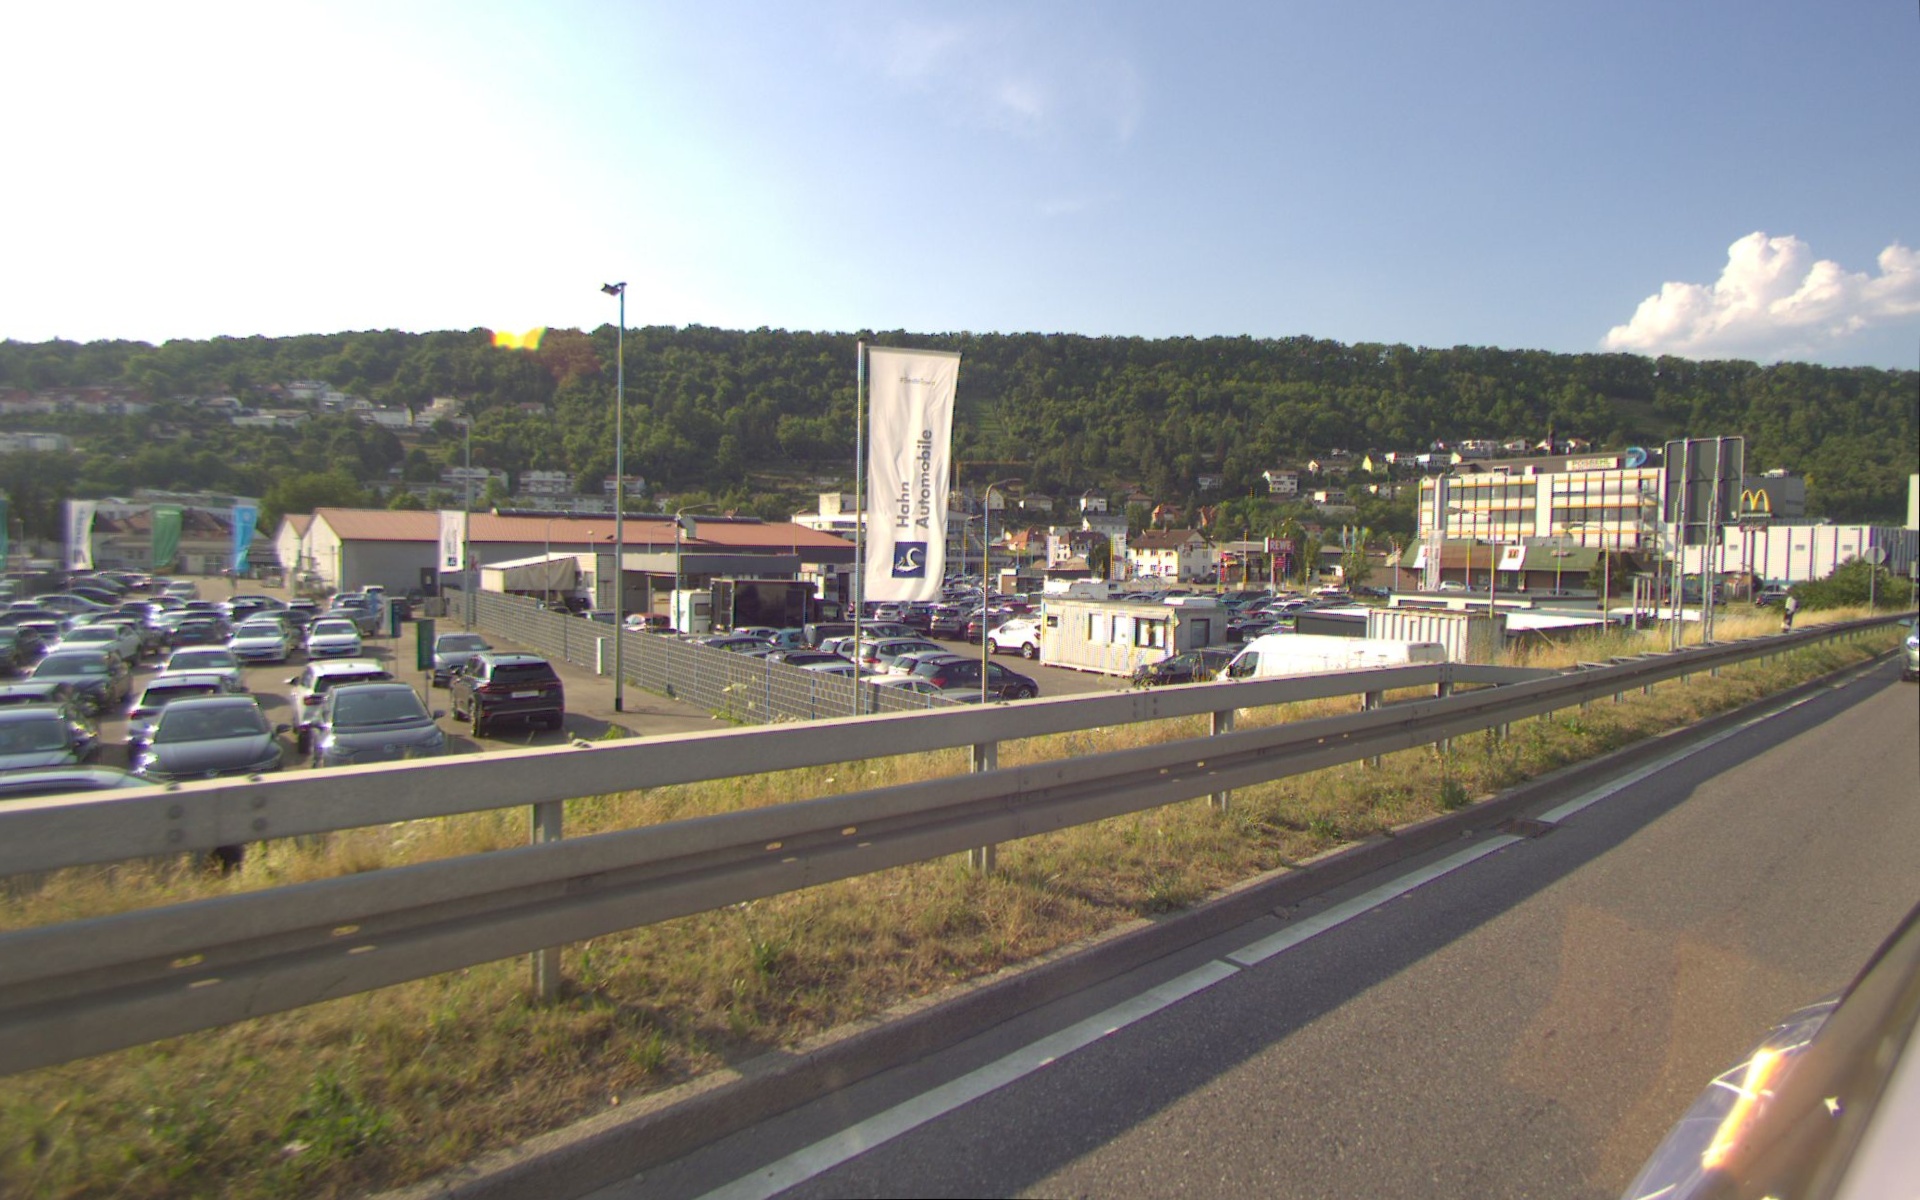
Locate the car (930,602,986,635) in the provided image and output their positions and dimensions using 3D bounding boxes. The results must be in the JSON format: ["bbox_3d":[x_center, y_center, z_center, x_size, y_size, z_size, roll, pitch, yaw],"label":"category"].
[{"bbox_3d":[-0.057,0.944,53.611,1.662,1.589,3.747,0,1,23],"label":"car"}]

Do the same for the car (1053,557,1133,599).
[{"bbox_3d":[8.402,-1.417,63.794,5.370,2.581,1.759,-2,1,-38],"label":"car"}]

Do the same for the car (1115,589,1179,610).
[{"bbox_3d":[14.229,-0.075,76.979,4.386,1.478,1.765,-1,1,-12],"label":"car"}]

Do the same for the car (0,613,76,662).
[{"bbox_3d":[-35.438,1.386,38.813,1.723,1.661,3.966,-2,2,-33],"label":"car"}]

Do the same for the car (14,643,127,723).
[{"bbox_3d":[-21.984,1.981,25.129,1.597,1.593,3.488,-2,1,-33],"label":"car"}]

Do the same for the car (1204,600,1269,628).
[{"bbox_3d":[16.665,0.832,60.878,3.600,1.521,1.771,-2,1,-31],"label":"car"}]

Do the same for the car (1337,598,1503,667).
[{"bbox_3d":[13.330,0.872,29.511,1.868,1.771,3.996,-2,2,-39],"label":"car"}]

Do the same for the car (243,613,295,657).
[{"bbox_3d":[-29.376,1.439,43.099,1.723,1.661,3.966,-2,2,-33],"label":"car"}]

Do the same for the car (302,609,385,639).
[{"bbox_3d":[-30.866,1.193,50.819,1.592,1.304,3.998,-1,1,3],"label":"car"}]

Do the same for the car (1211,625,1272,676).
[{"bbox_3d":[11.126,1.942,39.845,1.710,1.667,3.743,0,1,26],"label":"car"}]

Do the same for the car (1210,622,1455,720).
[{"bbox_3d":[9.572,1.721,26.544,1.964,2.038,5.896,-2,2,-38],"label":"car"}]

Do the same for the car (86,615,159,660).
[{"bbox_3d":[-33.282,1.441,40.303,1.796,1.521,4.001,-2,2,-33],"label":"car"}]

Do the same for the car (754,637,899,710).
[{"bbox_3d":[-3.810,2.063,29.128,3.840,1.715,1.602,-2,1,-35],"label":"car"}]

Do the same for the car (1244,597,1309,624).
[{"bbox_3d":[20.966,0.670,67.011,4.741,1.585,1.759,-2,2,-38],"label":"car"}]

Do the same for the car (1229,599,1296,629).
[{"bbox_3d":[17.491,0.781,58.458,3.600,1.521,1.771,-2,1,-31],"label":"car"}]

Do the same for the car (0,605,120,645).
[{"bbox_3d":[-41.987,1.126,47.006,1.855,1.656,4.428,-1,1,10],"label":"car"}]

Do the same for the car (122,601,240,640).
[{"bbox_3d":[-37.224,0.948,48.520,1.855,1.656,4.428,-1,1,10],"label":"car"}]

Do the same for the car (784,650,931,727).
[{"bbox_3d":[-2.725,2.306,27.151,3.601,1.631,1.601,-2,1,-37],"label":"car"}]

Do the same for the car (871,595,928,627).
[{"bbox_3d":[-3.498,0.594,59.019,1.751,1.705,3.642,0,1,25],"label":"car"}]

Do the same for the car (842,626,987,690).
[{"bbox_3d":[-1.475,1.851,33.562,4.413,1.722,1.972,-2,2,-36],"label":"car"}]

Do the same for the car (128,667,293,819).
[{"bbox_3d":[-11.787,2.109,16.176,1.850,1.656,4.441,-2,2,-33],"label":"car"}]

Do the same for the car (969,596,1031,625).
[{"bbox_3d":[2.447,0.599,61.887,3.367,1.636,1.810,-1,1,-18],"label":"car"}]

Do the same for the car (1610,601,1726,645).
[{"bbox_3d":[32.124,0.997,45.979,1.802,1.838,3.995,-2,2,-39],"label":"car"}]

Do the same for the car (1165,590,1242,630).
[{"bbox_3d":[15.119,0.591,62.674,5.202,2.274,1.759,-2,1,-38],"label":"car"}]

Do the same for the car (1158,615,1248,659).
[{"bbox_3d":[10.951,1.641,45.761,1.858,1.757,3.679,-2,2,-35],"label":"car"}]

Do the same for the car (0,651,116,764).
[{"bbox_3d":[-17.684,1.974,19.353,1.850,1.656,4.441,-2,2,-33],"label":"car"}]

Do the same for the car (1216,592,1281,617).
[{"bbox_3d":[20.694,0.294,72.529,4.388,1.585,1.764,-2,1,-25],"label":"car"}]

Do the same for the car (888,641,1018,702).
[{"bbox_3d":[-0.195,2.160,31.264,3.794,1.530,1.602,-2,1,-36],"label":"car"}]

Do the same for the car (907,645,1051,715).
[{"bbox_3d":[0.596,2.257,29.294,4.105,1.524,1.601,-2,4,-40],"label":"car"}]

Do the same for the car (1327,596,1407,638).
[{"bbox_3d":[21.240,0.824,52.768,4.741,1.976,1.759,-2,2,-38],"label":"car"}]

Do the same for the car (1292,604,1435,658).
[{"bbox_3d":[14.479,1.078,36.504,2.092,1.772,4.331,3,-1,-39],"label":"car"}]

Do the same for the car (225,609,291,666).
[{"bbox_3d":[-26.295,1.341,38.000,1.889,1.883,4.001,-2,1,-33],"label":"car"}]

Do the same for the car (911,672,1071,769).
[{"bbox_3d":[0.768,2.643,22.940,1.598,1.631,3.609,0,2,45],"label":"car"}]

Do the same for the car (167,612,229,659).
[{"bbox_3d":[-31.049,1.397,41.337,1.723,1.661,3.966,-2,2,-33],"label":"car"}]

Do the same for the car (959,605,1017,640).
[{"bbox_3d":[1.456,1.119,51.181,1.662,1.589,3.747,0,1,23],"label":"car"}]

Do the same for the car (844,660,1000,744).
[{"bbox_3d":[-0.901,2.456,25.097,3.601,1.631,1.601,-2,1,-37],"label":"car"}]

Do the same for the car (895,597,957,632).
[{"bbox_3d":[-1.844,0.773,55.953,1.755,1.704,3.632,1,2,32],"label":"car"}]
